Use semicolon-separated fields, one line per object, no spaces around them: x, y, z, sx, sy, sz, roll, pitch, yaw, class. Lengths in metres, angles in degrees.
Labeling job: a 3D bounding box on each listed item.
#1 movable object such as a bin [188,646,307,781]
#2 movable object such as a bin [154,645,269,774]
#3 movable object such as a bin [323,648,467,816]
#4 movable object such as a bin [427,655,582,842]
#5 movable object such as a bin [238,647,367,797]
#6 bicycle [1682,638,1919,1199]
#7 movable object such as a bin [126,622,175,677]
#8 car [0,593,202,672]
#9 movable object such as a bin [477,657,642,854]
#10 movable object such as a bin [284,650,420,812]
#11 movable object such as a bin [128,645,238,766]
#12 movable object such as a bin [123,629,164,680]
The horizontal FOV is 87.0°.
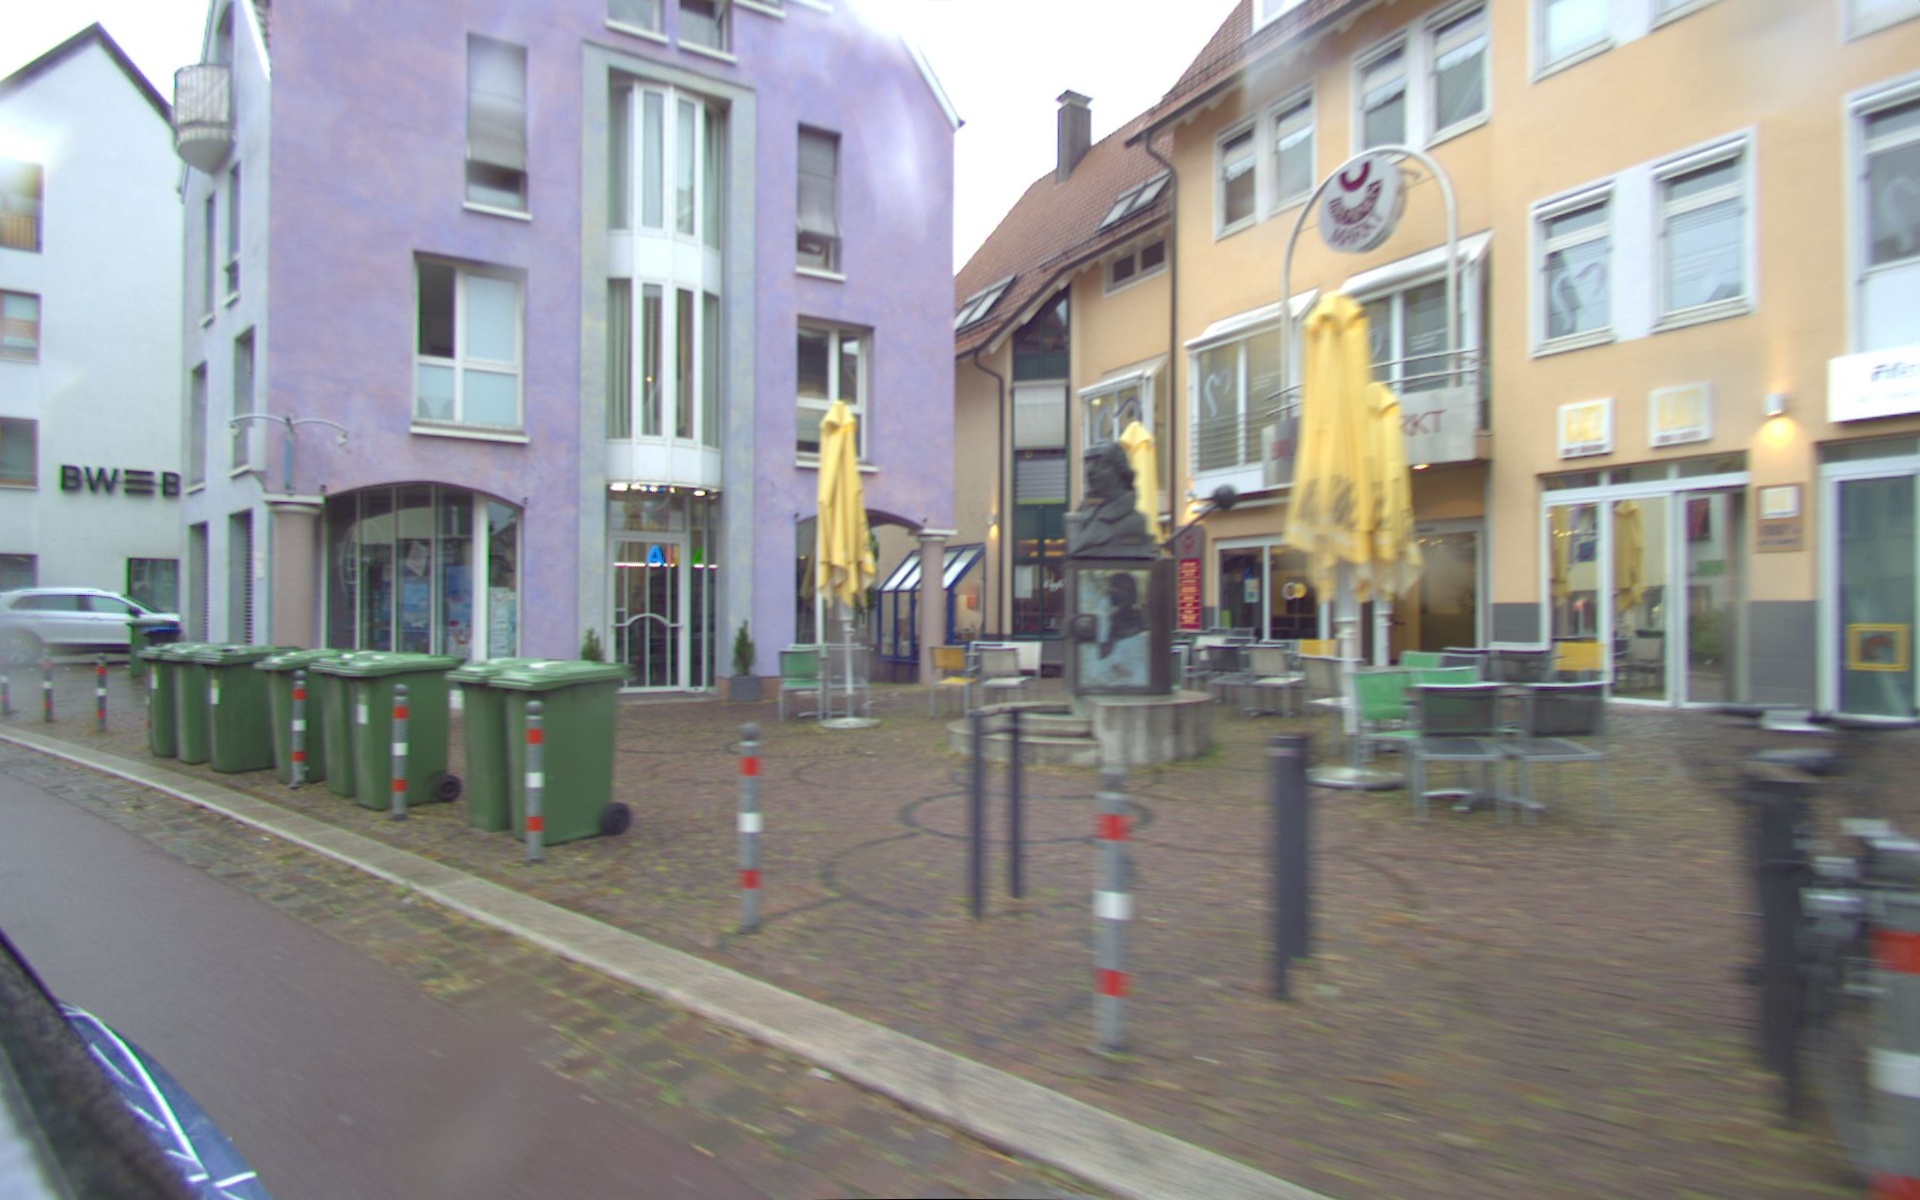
-6.255;0.964;8.893;0.668;1.089;0.680;-1;-1;36;movable object such as a bin
-6.965;0.988;9.421;0.711;1.095;0.680;-1;-1;36;movable object such as a bin
-4.016;0.898;7.200;0.668;1.082;0.680;-1;-1;36;movable object such as a bin
-2.962;0.922;6.597;0.668;1.084;0.680;-1;-1;36;movable object such as a bin
-5.320;0.952;8.199;0.668;1.114;0.680;-1;-1;36;movable object such as a bin
2.515;0.730;2.845;0.442;1.173;1.737;1;0;24;bicycle
-15.241;0.917;19.056;0.486;0.996;0.567;1;0;30;movable object such as a bin
-19.118;0.673;22.202;3.935;1.595;1.836;1;0;-39;car
-2.415;0.893;6.122;0.668;1.050;0.680;0;-1;36;movable object such as a bin
-4.616;0.956;7.693;0.668;1.114;0.680;-1;-1;36;movable object such as a bin
-7.557;0.995;9.848;0.676;1.086;0.680;-1;-1;36;movable object such as a bin
-14.863;0.985;18.431;0.448;0.902;0.456;1;0;33;movable object such as a bin
